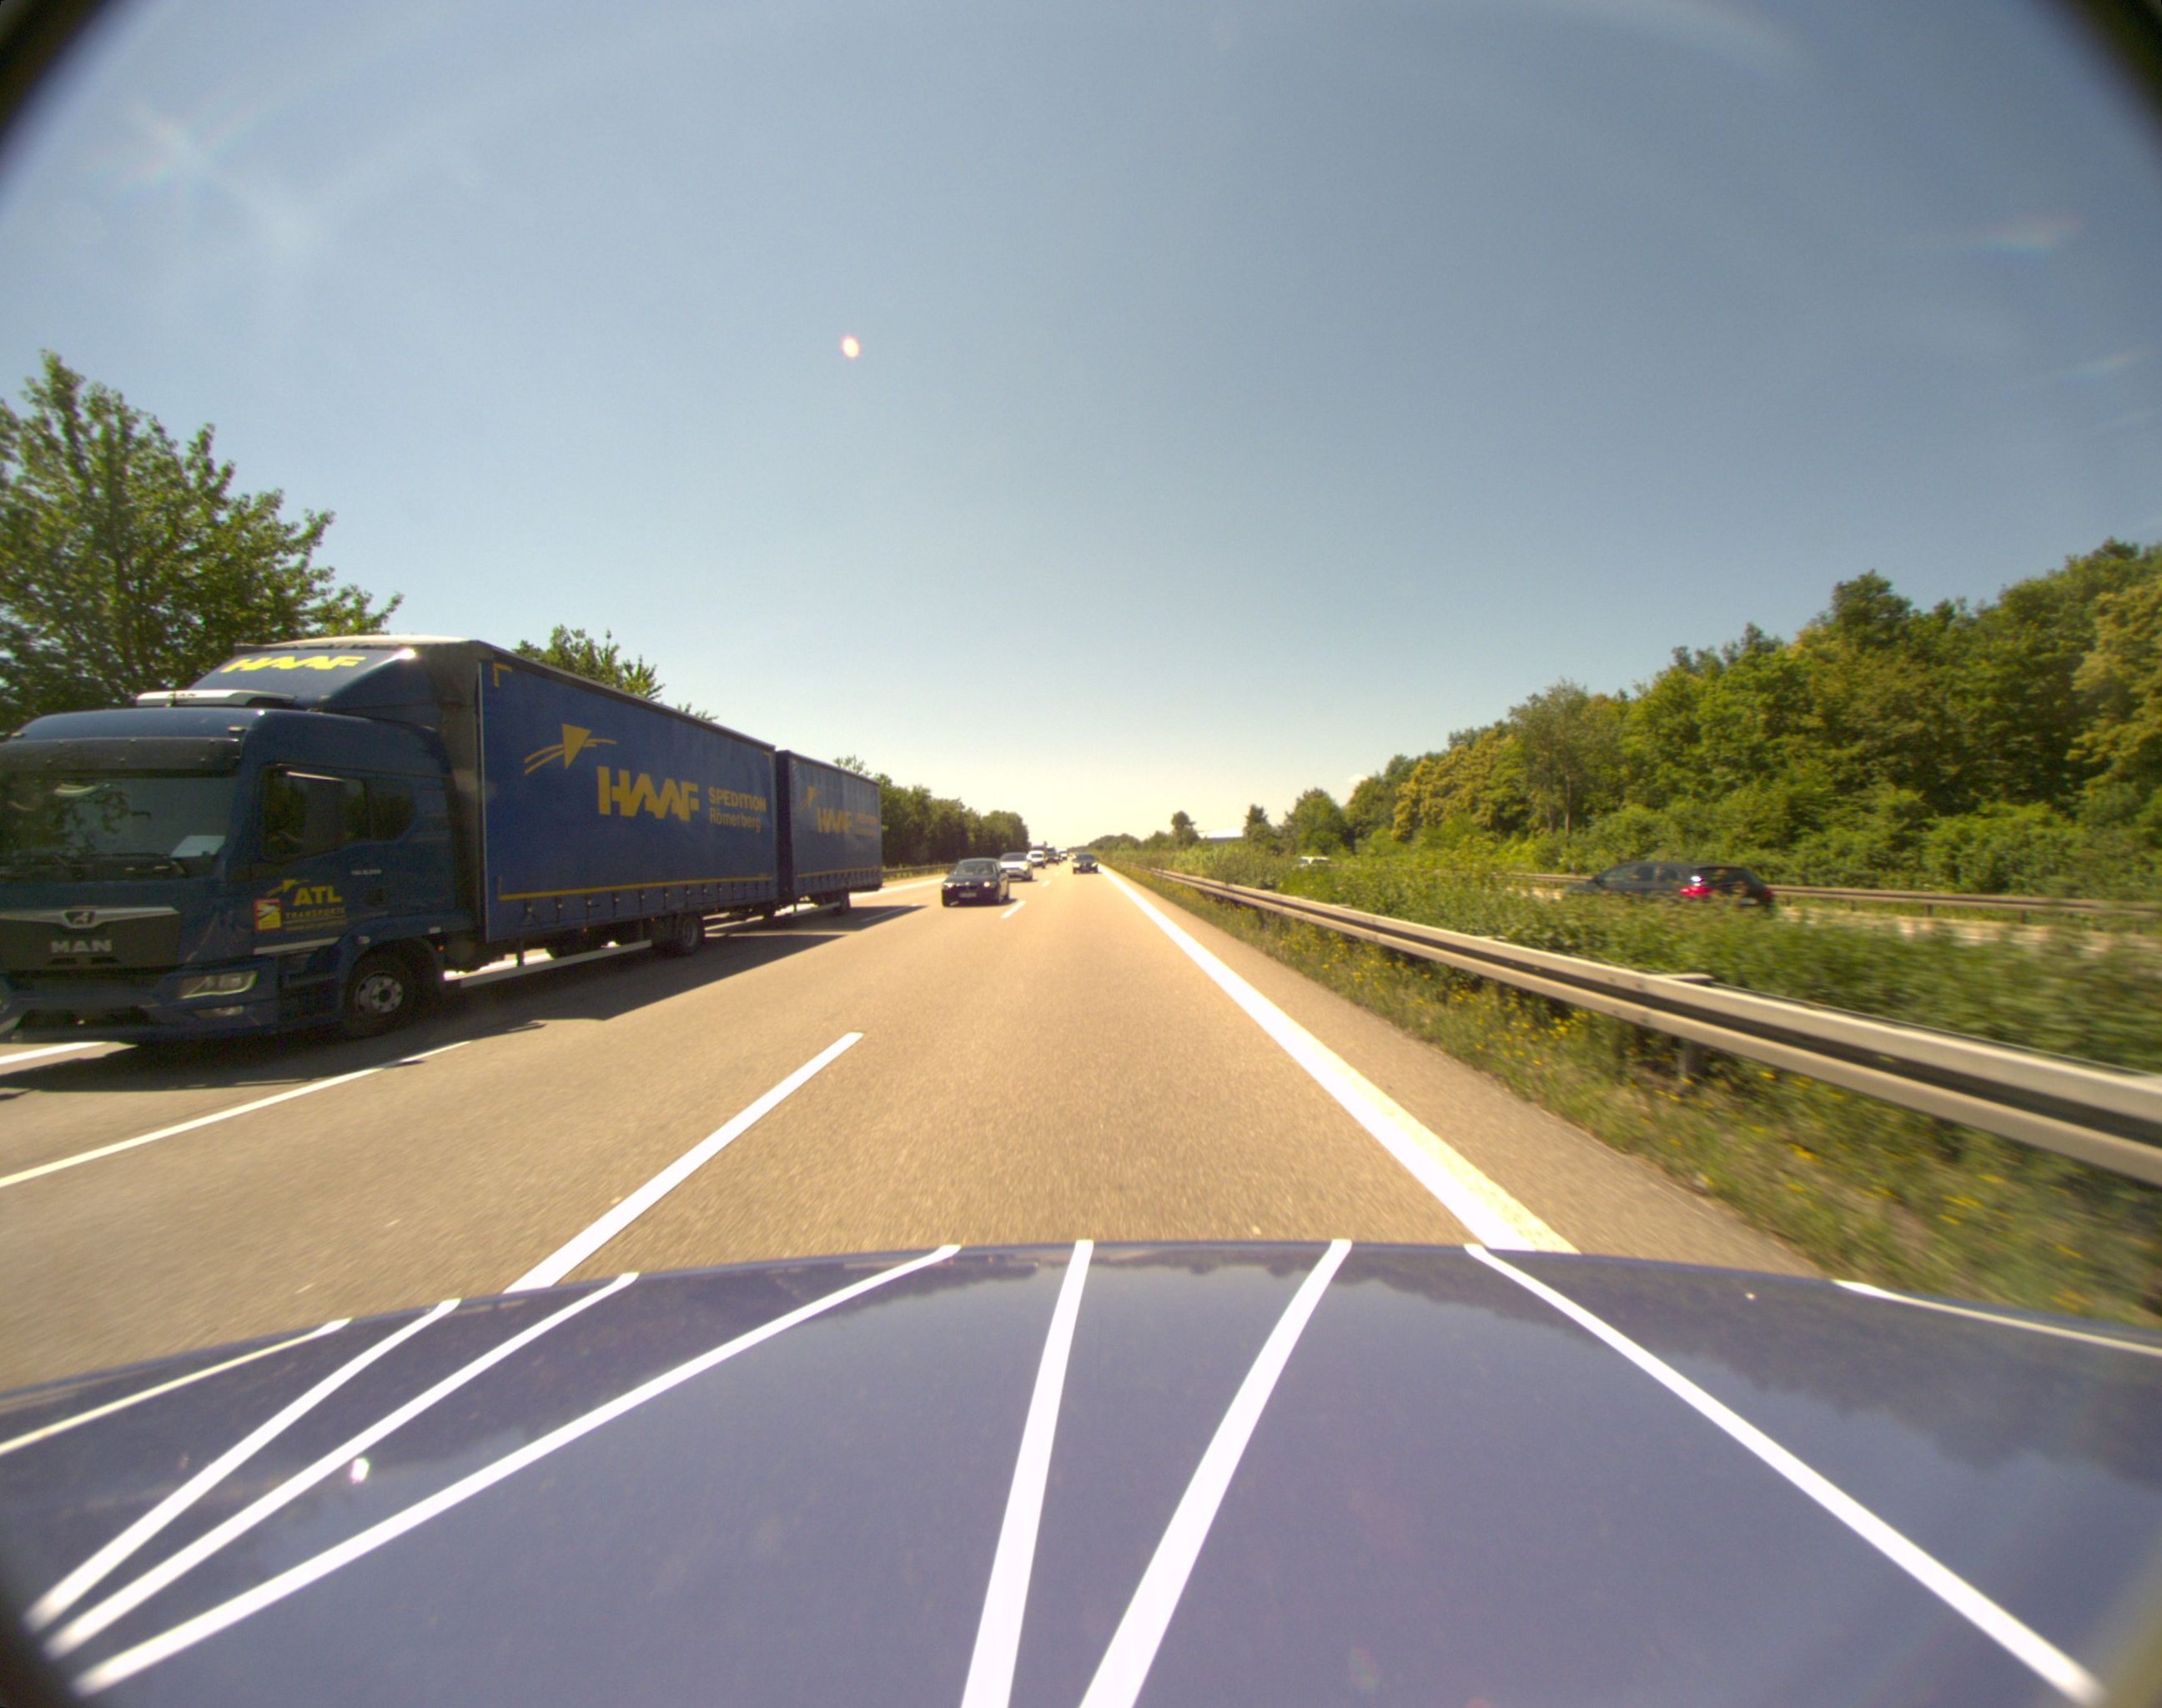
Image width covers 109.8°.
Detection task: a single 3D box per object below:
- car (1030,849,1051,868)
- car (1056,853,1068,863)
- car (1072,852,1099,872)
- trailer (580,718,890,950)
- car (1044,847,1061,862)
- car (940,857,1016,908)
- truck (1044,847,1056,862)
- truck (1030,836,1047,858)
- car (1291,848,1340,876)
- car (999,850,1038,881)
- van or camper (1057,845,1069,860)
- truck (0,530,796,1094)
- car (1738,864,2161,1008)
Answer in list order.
[{"bbox_3d":[-4.155,0.418,78.081,1.887,1.861,4.467,-1,0,0],"label":"car"},{"bbox_3d":[-3.031,0.579,121.290,1.887,1.557,4.466,-1,0,-2],"label":"car"},{"bbox_3d":[0.291,0.556,56.267,1.887,1.341,4.467,-1,0,0],"label":"car"},{"bbox_3d":[-7.634,-0.396,19.200,2.797,4.180,10.805,-1,0,0],"label":"trailer"},{"bbox_3d":[-3.706,0.055,99.793,1.998,2.002,4.000,-1,1,1],"label":"car"},{"bbox_3d":[-3.245,0.855,24.753,1.841,1.409,4.497,-1,0,0],"label":"car"},{"bbox_3d":[-8.773,0.194,217.257,2.797,4.180,10.805,-1,0,0],"label":"truck"},{"bbox_3d":[-8.486,-1.436,152.235,2.797,4.180,10.805,-1,0,0],"label":"truck"},{"bbox_3d":[13.458,0.417,43.772,1.612,1.508,4.000,-1,1,1],"label":"car"},{"bbox_3d":[-3.520,0.616,43.437,1.887,1.634,3.999,-1,0,0],"label":"car"},{"bbox_3d":[-3.515,-0.274,149.125,2.198,2.796,6.999,-1,0,0],"label":"van or camper"},{"bbox_3d":[-7.683,-0.330,11.088,2.797,4.180,10.806,-1,0,1],"label":"truck"},{"bbox_3d":[12.099,0.961,10.817,1.751,1.508,4.392,-1,1,1],"label":"car"}]
